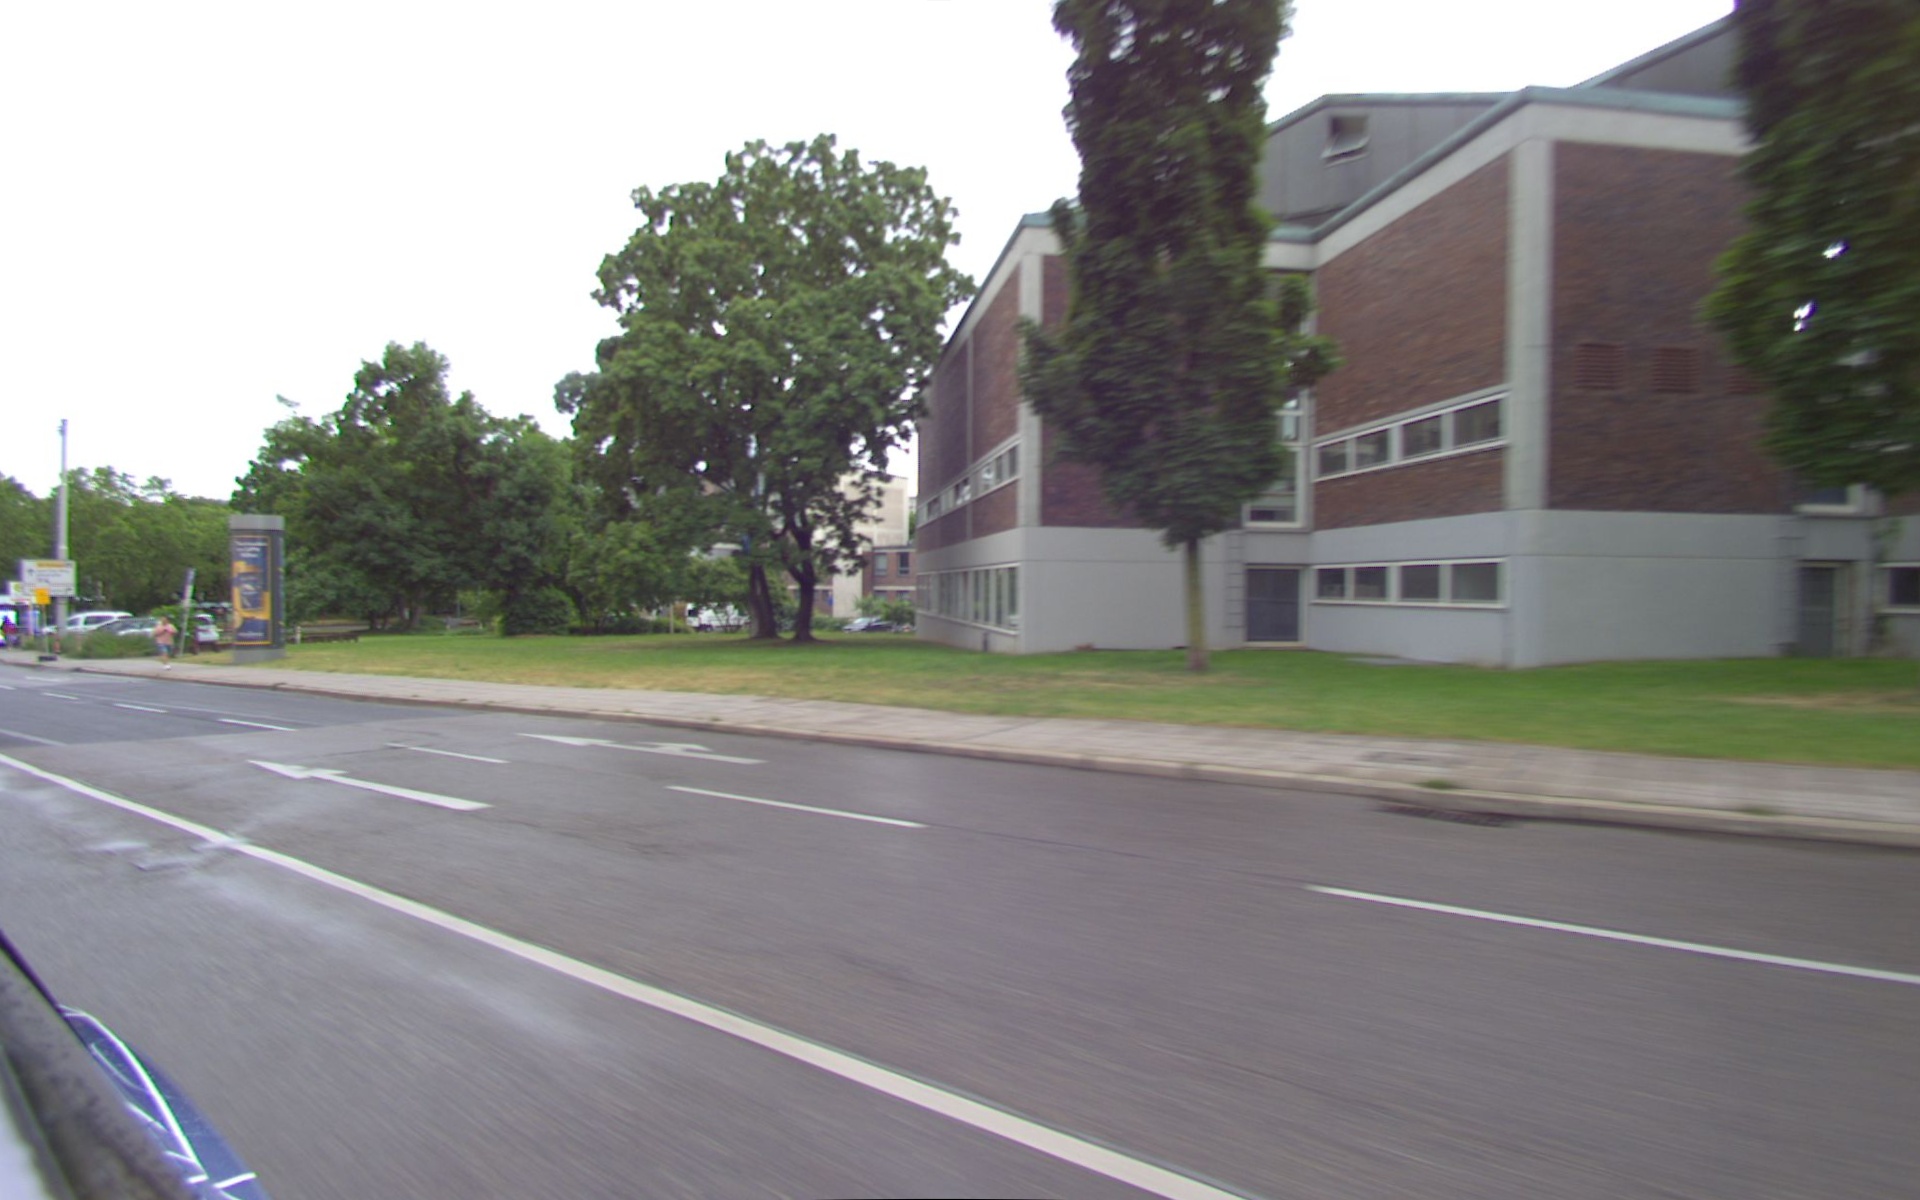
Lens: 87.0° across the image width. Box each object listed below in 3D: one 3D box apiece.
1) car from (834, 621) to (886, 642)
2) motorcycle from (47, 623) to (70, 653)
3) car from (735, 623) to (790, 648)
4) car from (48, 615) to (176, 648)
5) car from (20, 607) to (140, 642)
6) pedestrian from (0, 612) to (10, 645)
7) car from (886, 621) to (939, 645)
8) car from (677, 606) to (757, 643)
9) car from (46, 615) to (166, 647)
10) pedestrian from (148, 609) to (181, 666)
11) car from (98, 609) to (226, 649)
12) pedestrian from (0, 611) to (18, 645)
[{"bbox_3d":[-7.424,2.320,75.247,1.778,1.385,3.890,-1,1,34],"label":"car"},{"bbox_3d":[-39.692,1.666,44.562,1.266,1.256,0.509,-1,1,39],"label":"motorcycle"},{"bbox_3d":[-15.542,2.808,79.740,1.997,1.763,3.950,-2,0,37],"label":"car"},{"bbox_3d":[-41.651,1.531,49.855,4.505,1.359,1.911,-2,1,-28],"label":"car"},{"bbox_3d":[-49.238,1.341,56.729,4.646,1.768,2.021,-1,1,-11],"label":"car"},{"bbox_3d":[-50.061,1.499,52.713,0.669,1.708,0.679,-1,1,29],"label":"pedestrian"},{"bbox_3d":[-3.375,2.321,72.553,1.794,1.530,3.955,-1,1,34],"label":"car"},{"bbox_3d":[-20.594,2.030,86.058,2.738,2.782,6.130,-1,1,40],"label":"car"},{"bbox_3d":[-43.543,1.558,51.710,4.304,1.359,1.911,-2,1,-23],"label":"car"},{"bbox_3d":[-24.696,1.148,31.403,0.914,1.699,0.662,0,1,44],"label":"pedestrian"},{"bbox_3d":[-36.212,1.303,45.973,4.467,1.621,1.867,-1,1,4],"label":"car"},{"bbox_3d":[-49.296,1.431,52.346,0.640,1.708,0.623,-1,1,29],"label":"pedestrian"}]
